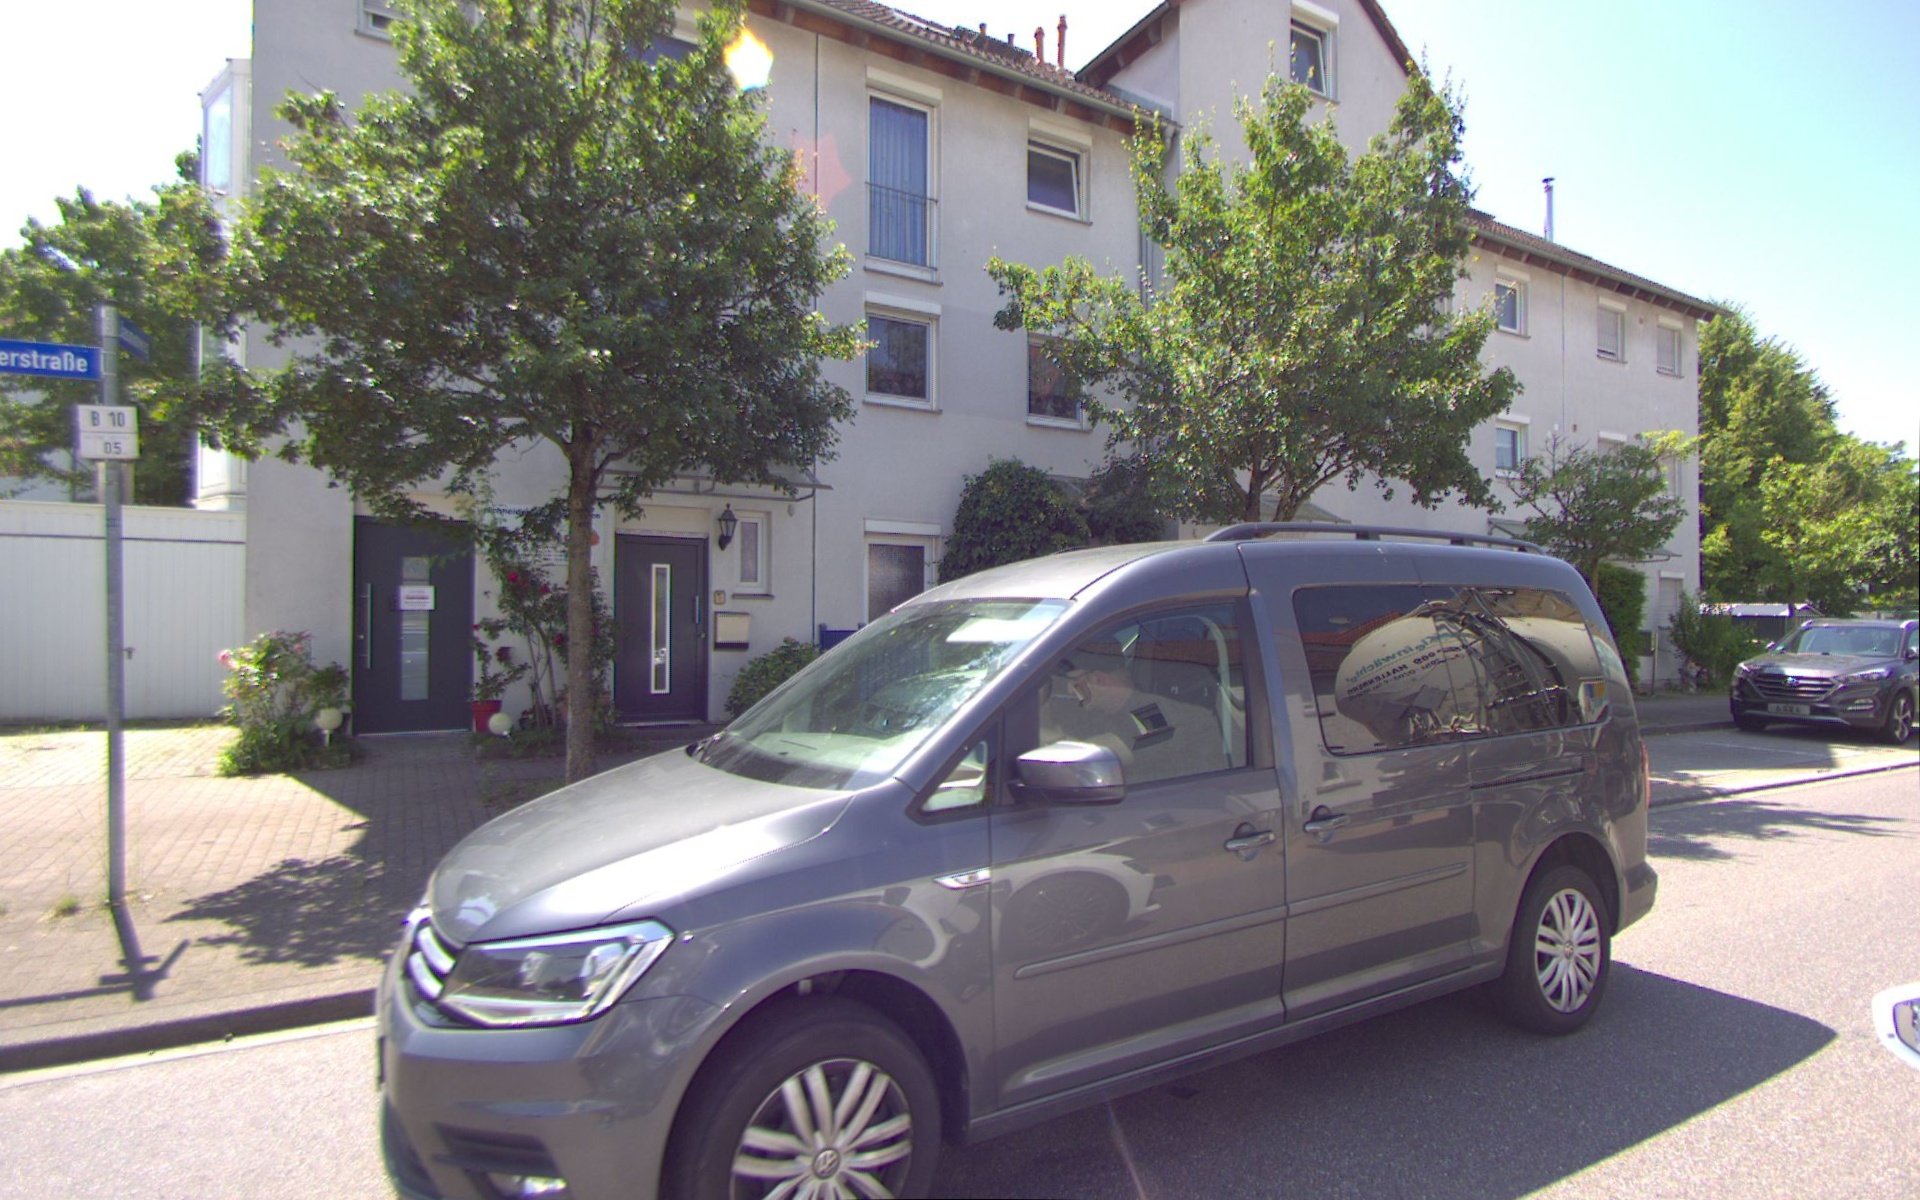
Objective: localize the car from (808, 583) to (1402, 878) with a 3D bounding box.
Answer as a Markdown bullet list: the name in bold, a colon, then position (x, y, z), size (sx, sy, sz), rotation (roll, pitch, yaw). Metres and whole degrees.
- **car**: position (1.245, 0.794, 7.726), size (4.474, 1.709, 1.697), rotation (1, 0, -31)

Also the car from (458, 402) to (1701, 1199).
- **car**: position (0.679, 0.643, 3.678), size (4.412, 1.879, 1.648), rotation (1, -3, -30)

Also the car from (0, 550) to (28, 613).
- **car**: position (-25.957, -0.511, 25.414), size (1.720, 1.645, 3.988), rotation (3, 0, -14)

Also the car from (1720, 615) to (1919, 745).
- **car**: position (12.965, 1.072, 14.579), size (3.950, 1.641, 1.684), rotation (1, -1, -30)

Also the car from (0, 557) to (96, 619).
- **car**: position (-23.820, -0.332, 25.421), size (1.668, 1.447, 3.980), rotation (1, 1, -21)
